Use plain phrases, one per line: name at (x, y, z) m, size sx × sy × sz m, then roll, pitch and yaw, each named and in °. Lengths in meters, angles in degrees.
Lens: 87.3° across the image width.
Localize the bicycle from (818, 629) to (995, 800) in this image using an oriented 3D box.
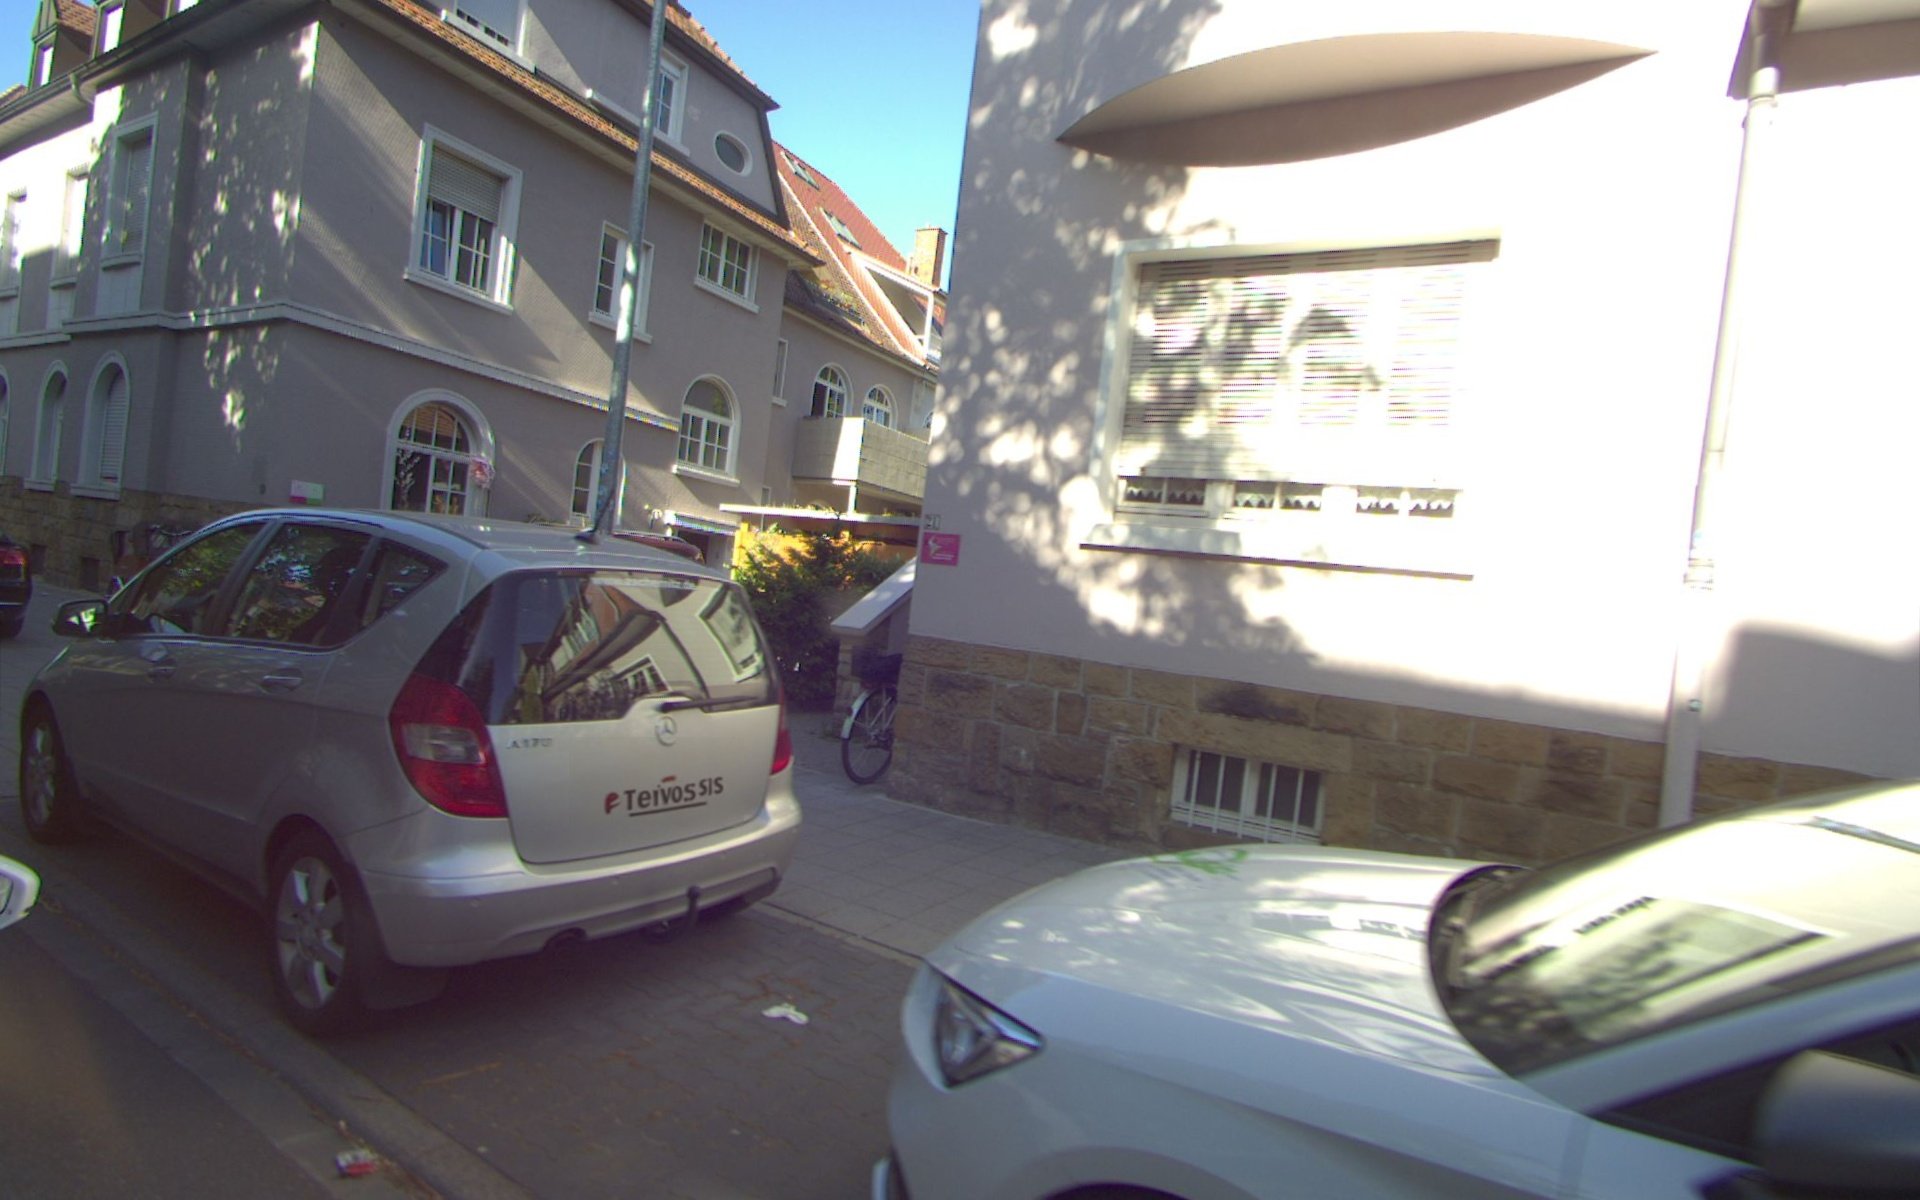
bicycle at (-0.350, 0.828, 7.575) m, size 0.389 × 1.114 × 1.638 m, roll 7°, pitch 0°, yaw 30°

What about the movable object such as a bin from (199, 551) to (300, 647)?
movable object such as a bin at (-8.521, -0.008, 12.069) m, size 0.814 × 1.053 × 0.648 m, roll 7°, pitch 1°, yaw 30°

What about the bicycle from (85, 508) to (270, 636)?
bicycle at (-9.946, -0.359, 12.776) m, size 2.213 × 1.355 × 1.083 m, roll 7°, pitch 1°, yaw 32°

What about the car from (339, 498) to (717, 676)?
car at (-5.355, -0.061, 13.023) m, size 1.736 × 1.866 × 4.142 m, roll 6°, pitch 0°, yaw 32°

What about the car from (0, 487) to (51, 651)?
car at (-11.065, -0.519, 10.045) m, size 4.533 × 1.512 × 1.854 m, roll 7°, pitch 2°, yaw 34°

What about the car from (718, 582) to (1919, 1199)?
car at (1.872, 0.966, 1.531) m, size 4.363 × 1.476 × 1.681 m, roll 7°, pitch 1°, yaw 30°

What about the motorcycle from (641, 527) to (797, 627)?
motorcycle at (-3.673, -0.357, 15.343) m, size 2.128 × 1.295 × 0.789 m, roll 5°, pitch -2°, yaw 20°

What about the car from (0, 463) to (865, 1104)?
car at (-2.557, 0.354, 4.409) m, size 3.936 × 1.622 × 1.788 m, roll 6°, pitch 2°, yaw 34°

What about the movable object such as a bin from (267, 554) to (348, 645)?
movable object such as a bin at (-8.222, -0.003, 12.679) m, size 0.607 × 1.053 × 0.569 m, roll 7°, pitch 1°, yaw 30°
